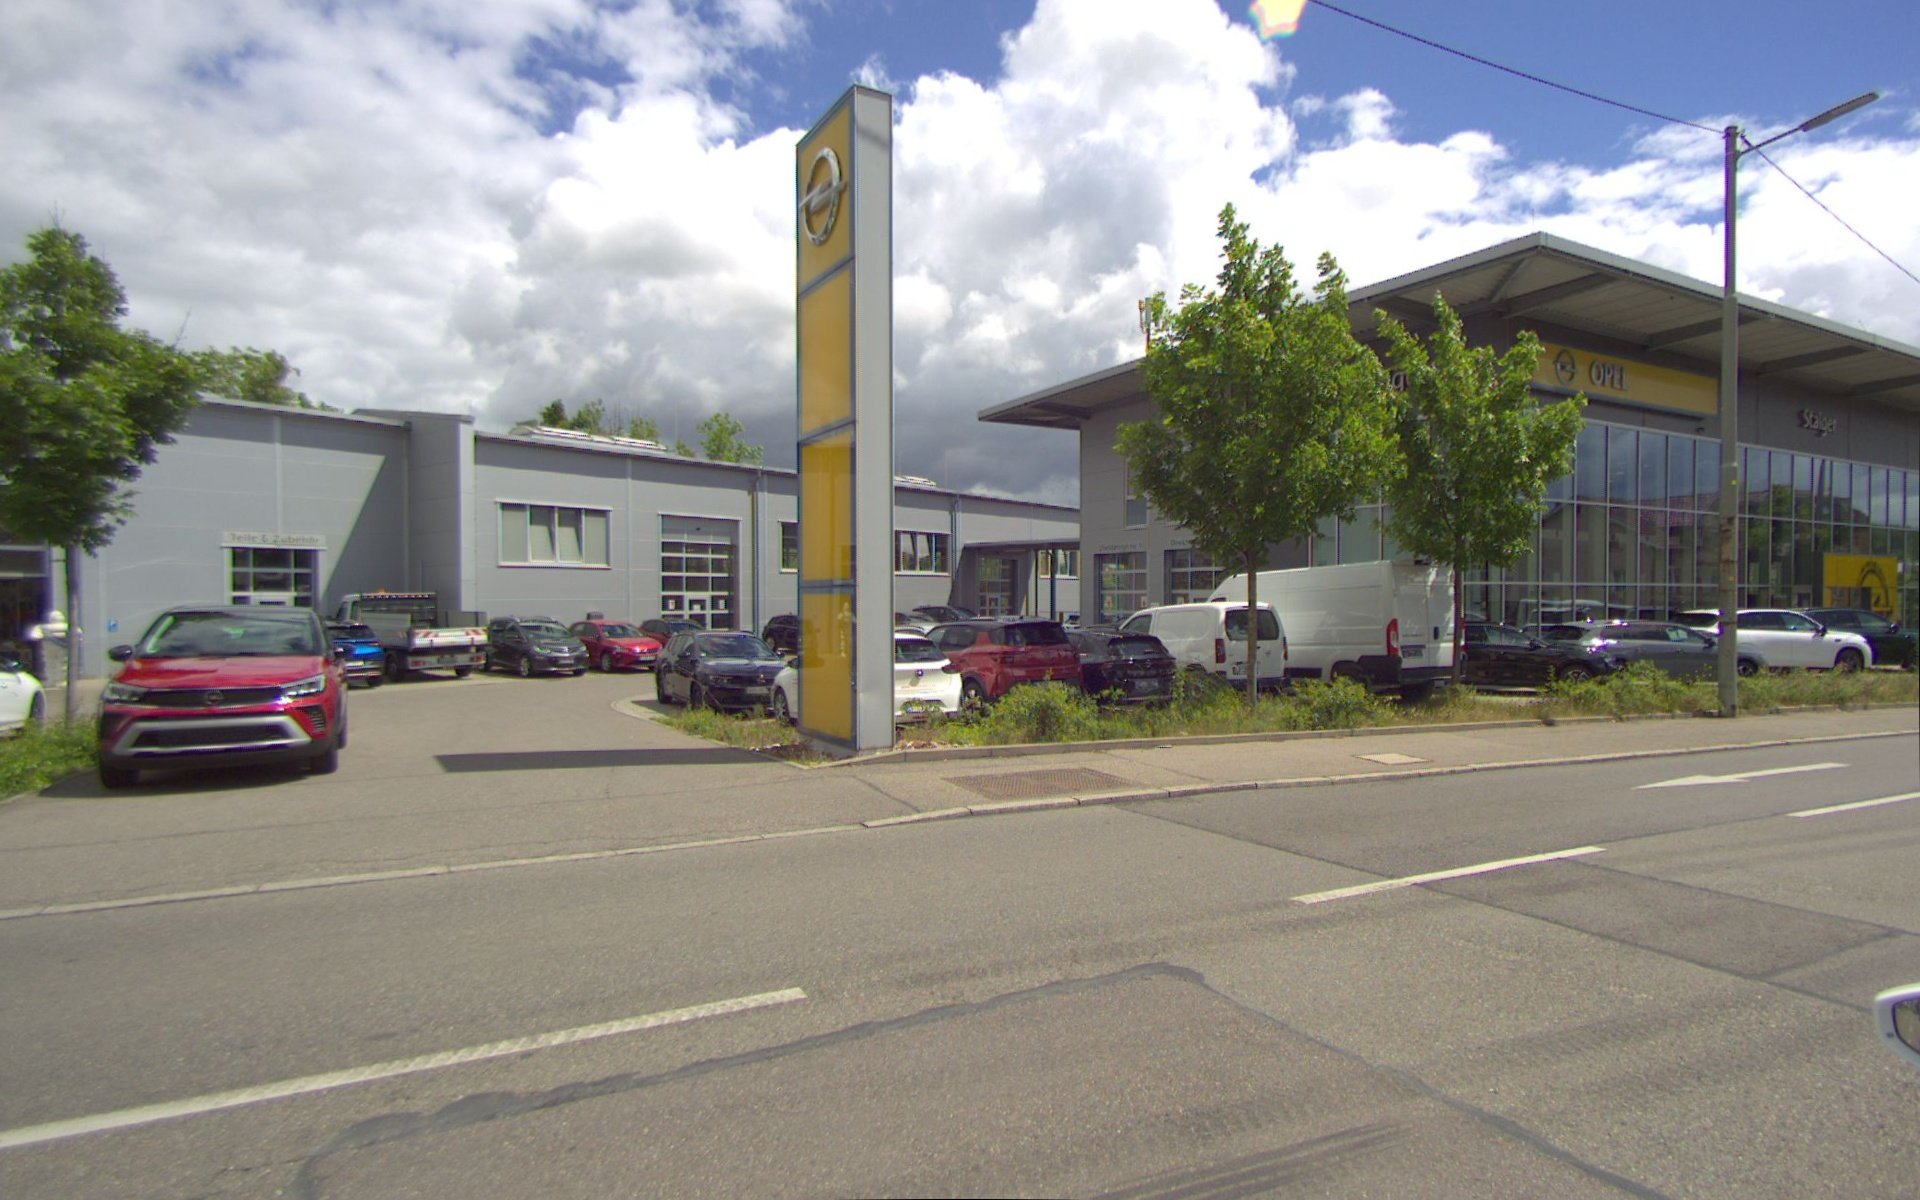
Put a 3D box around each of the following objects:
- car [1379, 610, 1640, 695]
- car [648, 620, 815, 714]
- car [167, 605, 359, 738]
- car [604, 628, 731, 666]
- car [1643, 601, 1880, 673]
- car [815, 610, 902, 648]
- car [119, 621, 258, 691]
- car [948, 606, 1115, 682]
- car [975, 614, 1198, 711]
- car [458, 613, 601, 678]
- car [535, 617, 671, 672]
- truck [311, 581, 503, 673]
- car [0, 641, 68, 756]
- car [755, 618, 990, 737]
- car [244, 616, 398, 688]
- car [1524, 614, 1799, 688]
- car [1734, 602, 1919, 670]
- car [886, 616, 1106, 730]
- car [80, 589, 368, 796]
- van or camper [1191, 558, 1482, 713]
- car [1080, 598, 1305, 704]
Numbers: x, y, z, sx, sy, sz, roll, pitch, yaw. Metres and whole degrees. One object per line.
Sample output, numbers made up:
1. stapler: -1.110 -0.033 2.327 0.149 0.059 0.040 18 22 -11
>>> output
1. car: 11.001 1.019 20.504 4.388 1.529 1.944 1 -1 19
2. car: -4.350 1.155 18.618 1.905 1.428 4.209 2 -1 -29
3. car: -9.520 0.930 14.021 1.804 1.542 4.061 -1 -2 -30
4. car: -9.414 1.471 32.195 4.229 1.037 1.787 1 -1 38
5. car: 19.633 0.886 24.710 4.468 1.593 1.935 2 -1 -6
6. car: -4.118 1.123 40.332 3.430 1.417 1.653 0 1 43
7. car: -19.205 1.327 24.959 4.178 1.428 1.919 1 2 41
8. car: 1.567 0.971 23.525 1.905 1.556 4.209 2 -1 -29
9. car: 2.085 1.014 17.635 1.905 1.428 3.969 2 -1 -29
10. car: -12.236 1.238 28.459 4.175 1.603 1.921 1 -1 38
11. car: -10.819 1.302 30.353 4.175 1.428 1.921 1 -1 38
12. truck: -15.499 0.723 27.975 6.220 2.258 2.689 0 -2 41
13. car: -13.215 1.279 13.006 1.626 1.346 3.806 2 -1 -29
14. car: -1.446 1.054 14.987 1.977 1.428 3.968 3 -1 -30
15. car: -15.745 1.225 24.667 4.176 1.516 1.920 1 -1 38
16. car: 15.254 1.083 22.008 4.737 1.470 1.900 0 1 -1
17. car: 23.897 0.932 27.218 4.398 1.721 1.999 0 1 -3
18. car: 0.445 1.064 16.450 1.974 1.511 3.973 -1 1 -26
19. car: -7.018 0.814 10.001 1.732 1.609 3.972 0 -3 -28
20. van or camper: 7.046 0.570 19.404 2.290 2.565 5.004 -1 1 -29
21. car: 4.256 0.848 18.951 1.976 1.729 3.968 -1 1 -30
